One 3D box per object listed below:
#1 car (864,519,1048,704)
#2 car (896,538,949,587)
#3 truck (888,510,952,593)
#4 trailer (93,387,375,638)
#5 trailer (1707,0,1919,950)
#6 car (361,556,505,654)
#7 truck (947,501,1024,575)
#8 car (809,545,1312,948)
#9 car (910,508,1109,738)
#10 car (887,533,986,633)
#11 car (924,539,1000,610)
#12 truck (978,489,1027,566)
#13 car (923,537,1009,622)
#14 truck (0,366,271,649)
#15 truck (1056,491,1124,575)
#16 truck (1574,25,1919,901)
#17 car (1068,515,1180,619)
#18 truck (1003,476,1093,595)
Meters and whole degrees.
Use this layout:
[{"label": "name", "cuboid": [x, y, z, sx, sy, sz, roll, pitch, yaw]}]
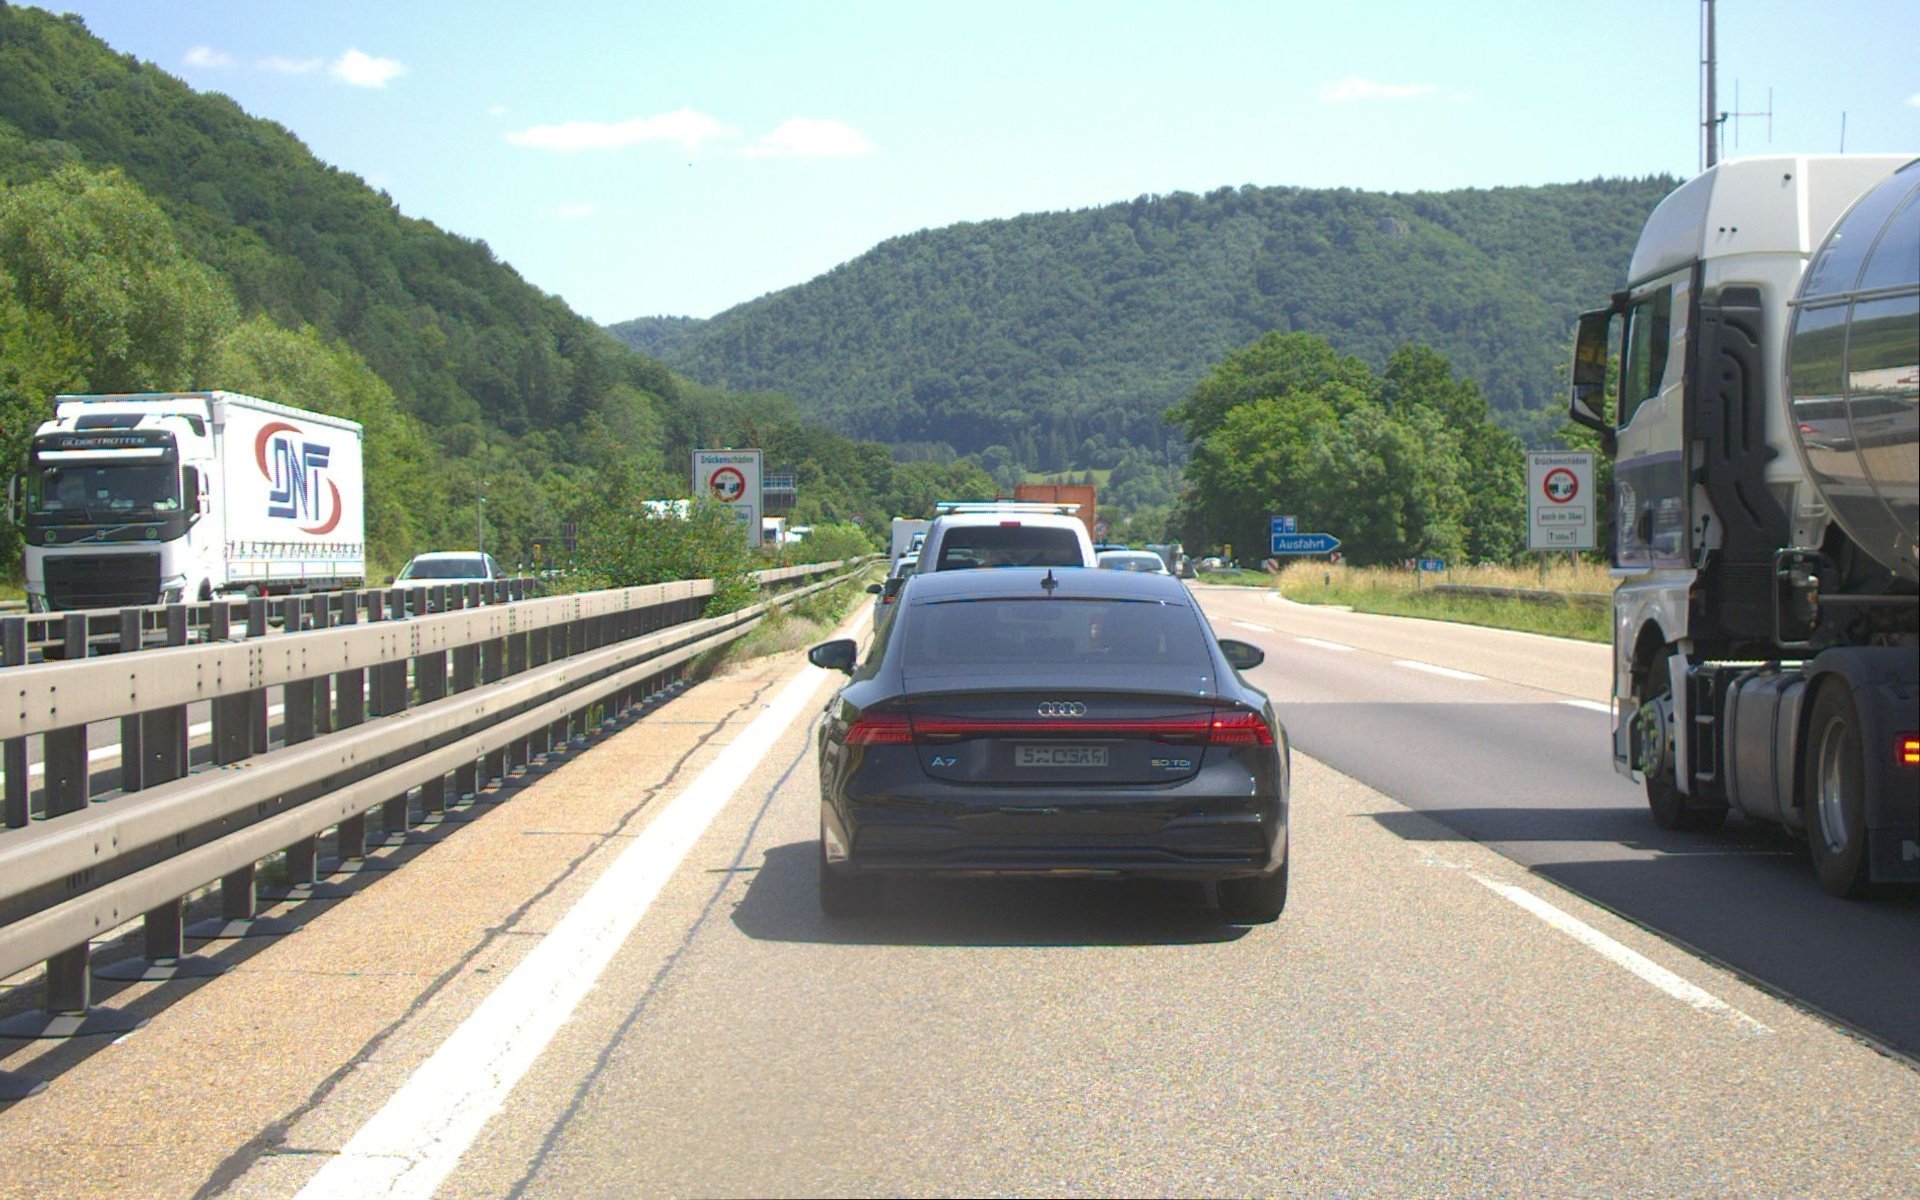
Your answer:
[{"label": "car", "cuboid": [-0.073, 0.104, 39.733, 1.993, 2.007, 4.000, 1, 1, -1]}, {"label": "car", "cuboid": [-1.264, -1.264, 116.046, 1.712, 1.613, 4.000, 0, 1, 1]}, {"label": "truck", "cuboid": [-1.673, -2.063, 147.480, 2.628, 3.429, 11.421, 0, 1, 0]}, {"label": "trailer", "cuboid": [-12.827, -1.491, 61.824, 2.856, 4.062, 11.264, 1, 1, -1]}, {"label": "trailer", "cuboid": [5.049, -0.463, 10.769, 2.538, 3.723, 11.892, 1, 1, -1]}, {"label": "car", "cuboid": [-8.525, 0.051, 55.891, 1.747, 1.513, 4.000, 1, 1, -1]}, {"label": "truck", "cuboid": [1.638, -3.840, 213.319, 3.794, 4.399, 14.953, 0, 1, 4]}, {"label": "car", "cuboid": [0.288, 0.525, 14.874, 1.849, 1.483, 4.083, 1, 1, -3]}, {"label": "car", "cuboid": [0.374, 0.161, 29.648, 1.576, 1.827, 4.000, 1, 1, -1]}, {"label": "car", "cuboid": [-0.508, -0.363, 71.301, 1.993, 2.007, 4.000, 0, 1, -1]}, {"label": "car", "cuboid": [0.057, -0.599, 79.409, 1.712, 1.613, 4.000, 0, 1, 1]}, {"label": "truck", "cuboid": [1.918, -3.308, 159.352, 1.993, 3.435, 11.811, 1, 1, 0]}, {"label": "car", "cuboid": [0.130, -0.510, 82.956, 1.993, 2.007, 4.000, 0, 1, -1]}, {"label": "truck", "cuboid": [-12.704, -1.388, 53.191, 2.909, 4.088, 5.848, 1, 1, -1]}, {"label": "truck", "cuboid": [6.491, -3.319, 173.412, 2.817, 3.989, 14.955, 1, 1, 0]}, {"label": "truck", "cuboid": [4.904, -0.600, 17.370, 2.511, 3.746, 5.246, 1, 1, -1]}, {"label": "car", "cuboid": [3.243, -0.677, 68.579, 1.993, 2.007, 4.000, 0, 1, -1]}, {"label": "truck", "cuboid": [3.079, -2.287, 124.060, 2.817, 3.989, 14.955, 1, 1, 0]}]
